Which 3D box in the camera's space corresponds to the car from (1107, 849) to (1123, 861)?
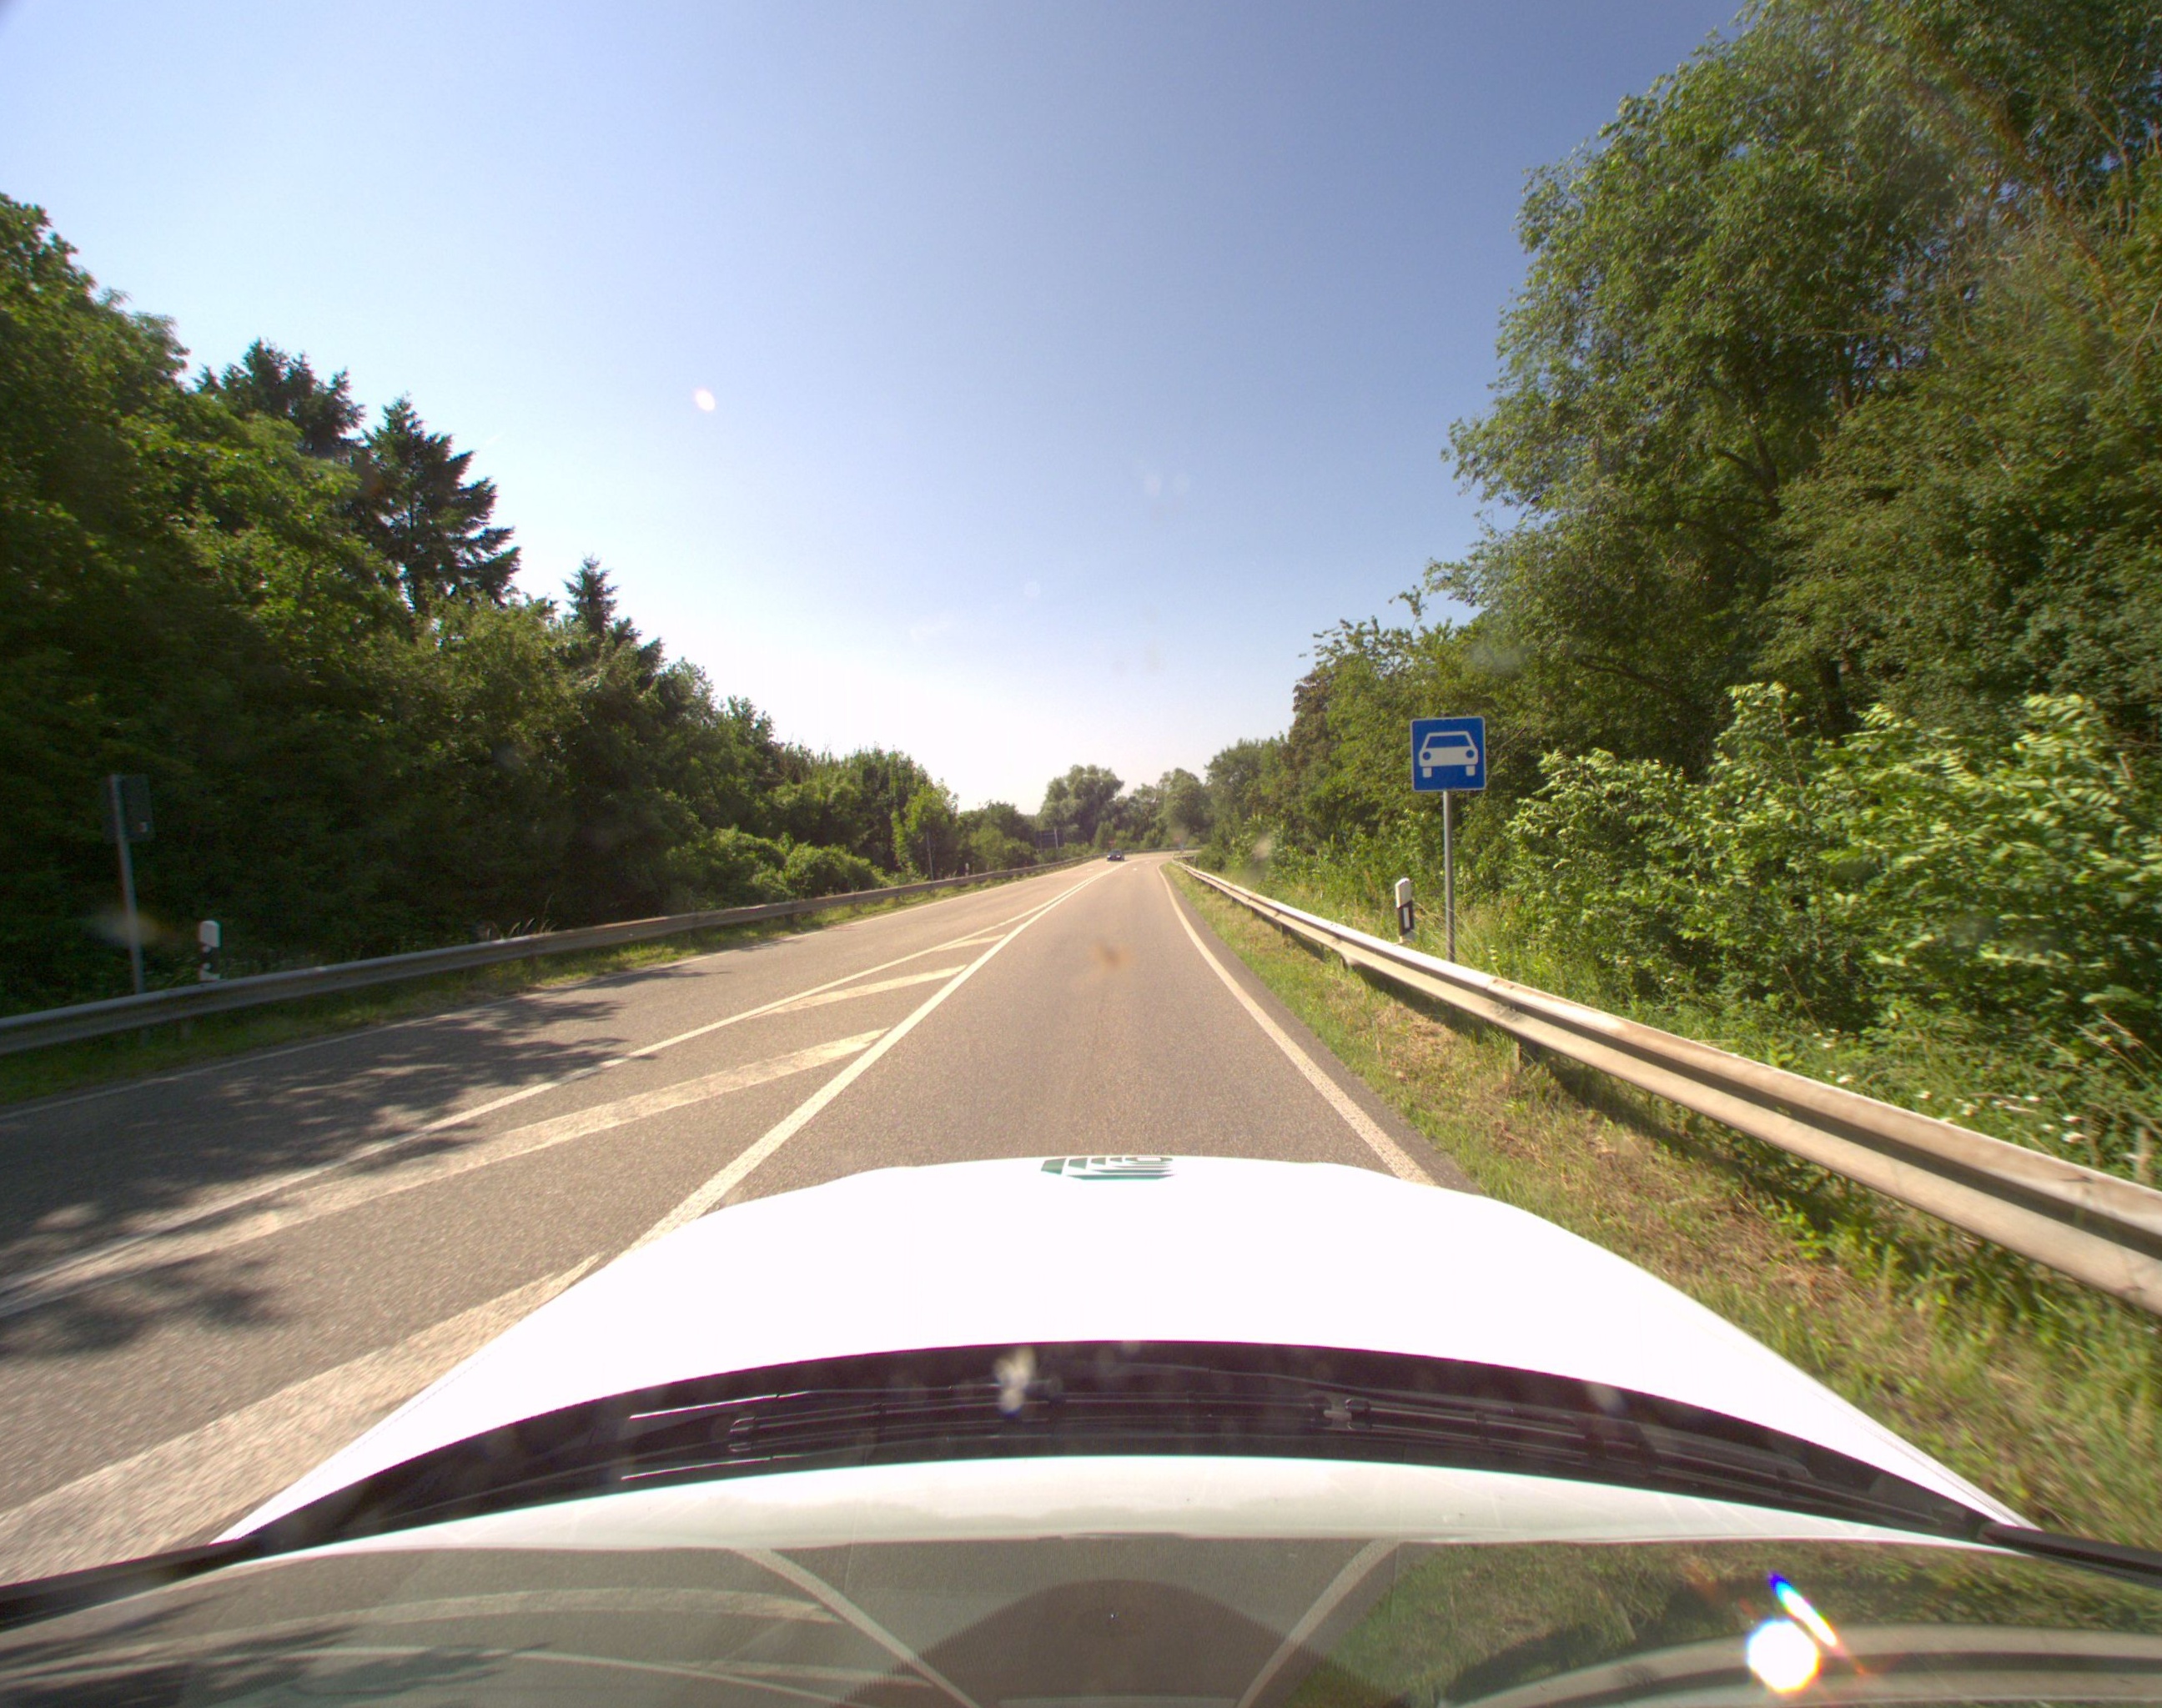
[{"bbox_3d":[4.286,0.129,103.101,1.599,1.473,4.228,-2,0,7],"label":"car"}]
